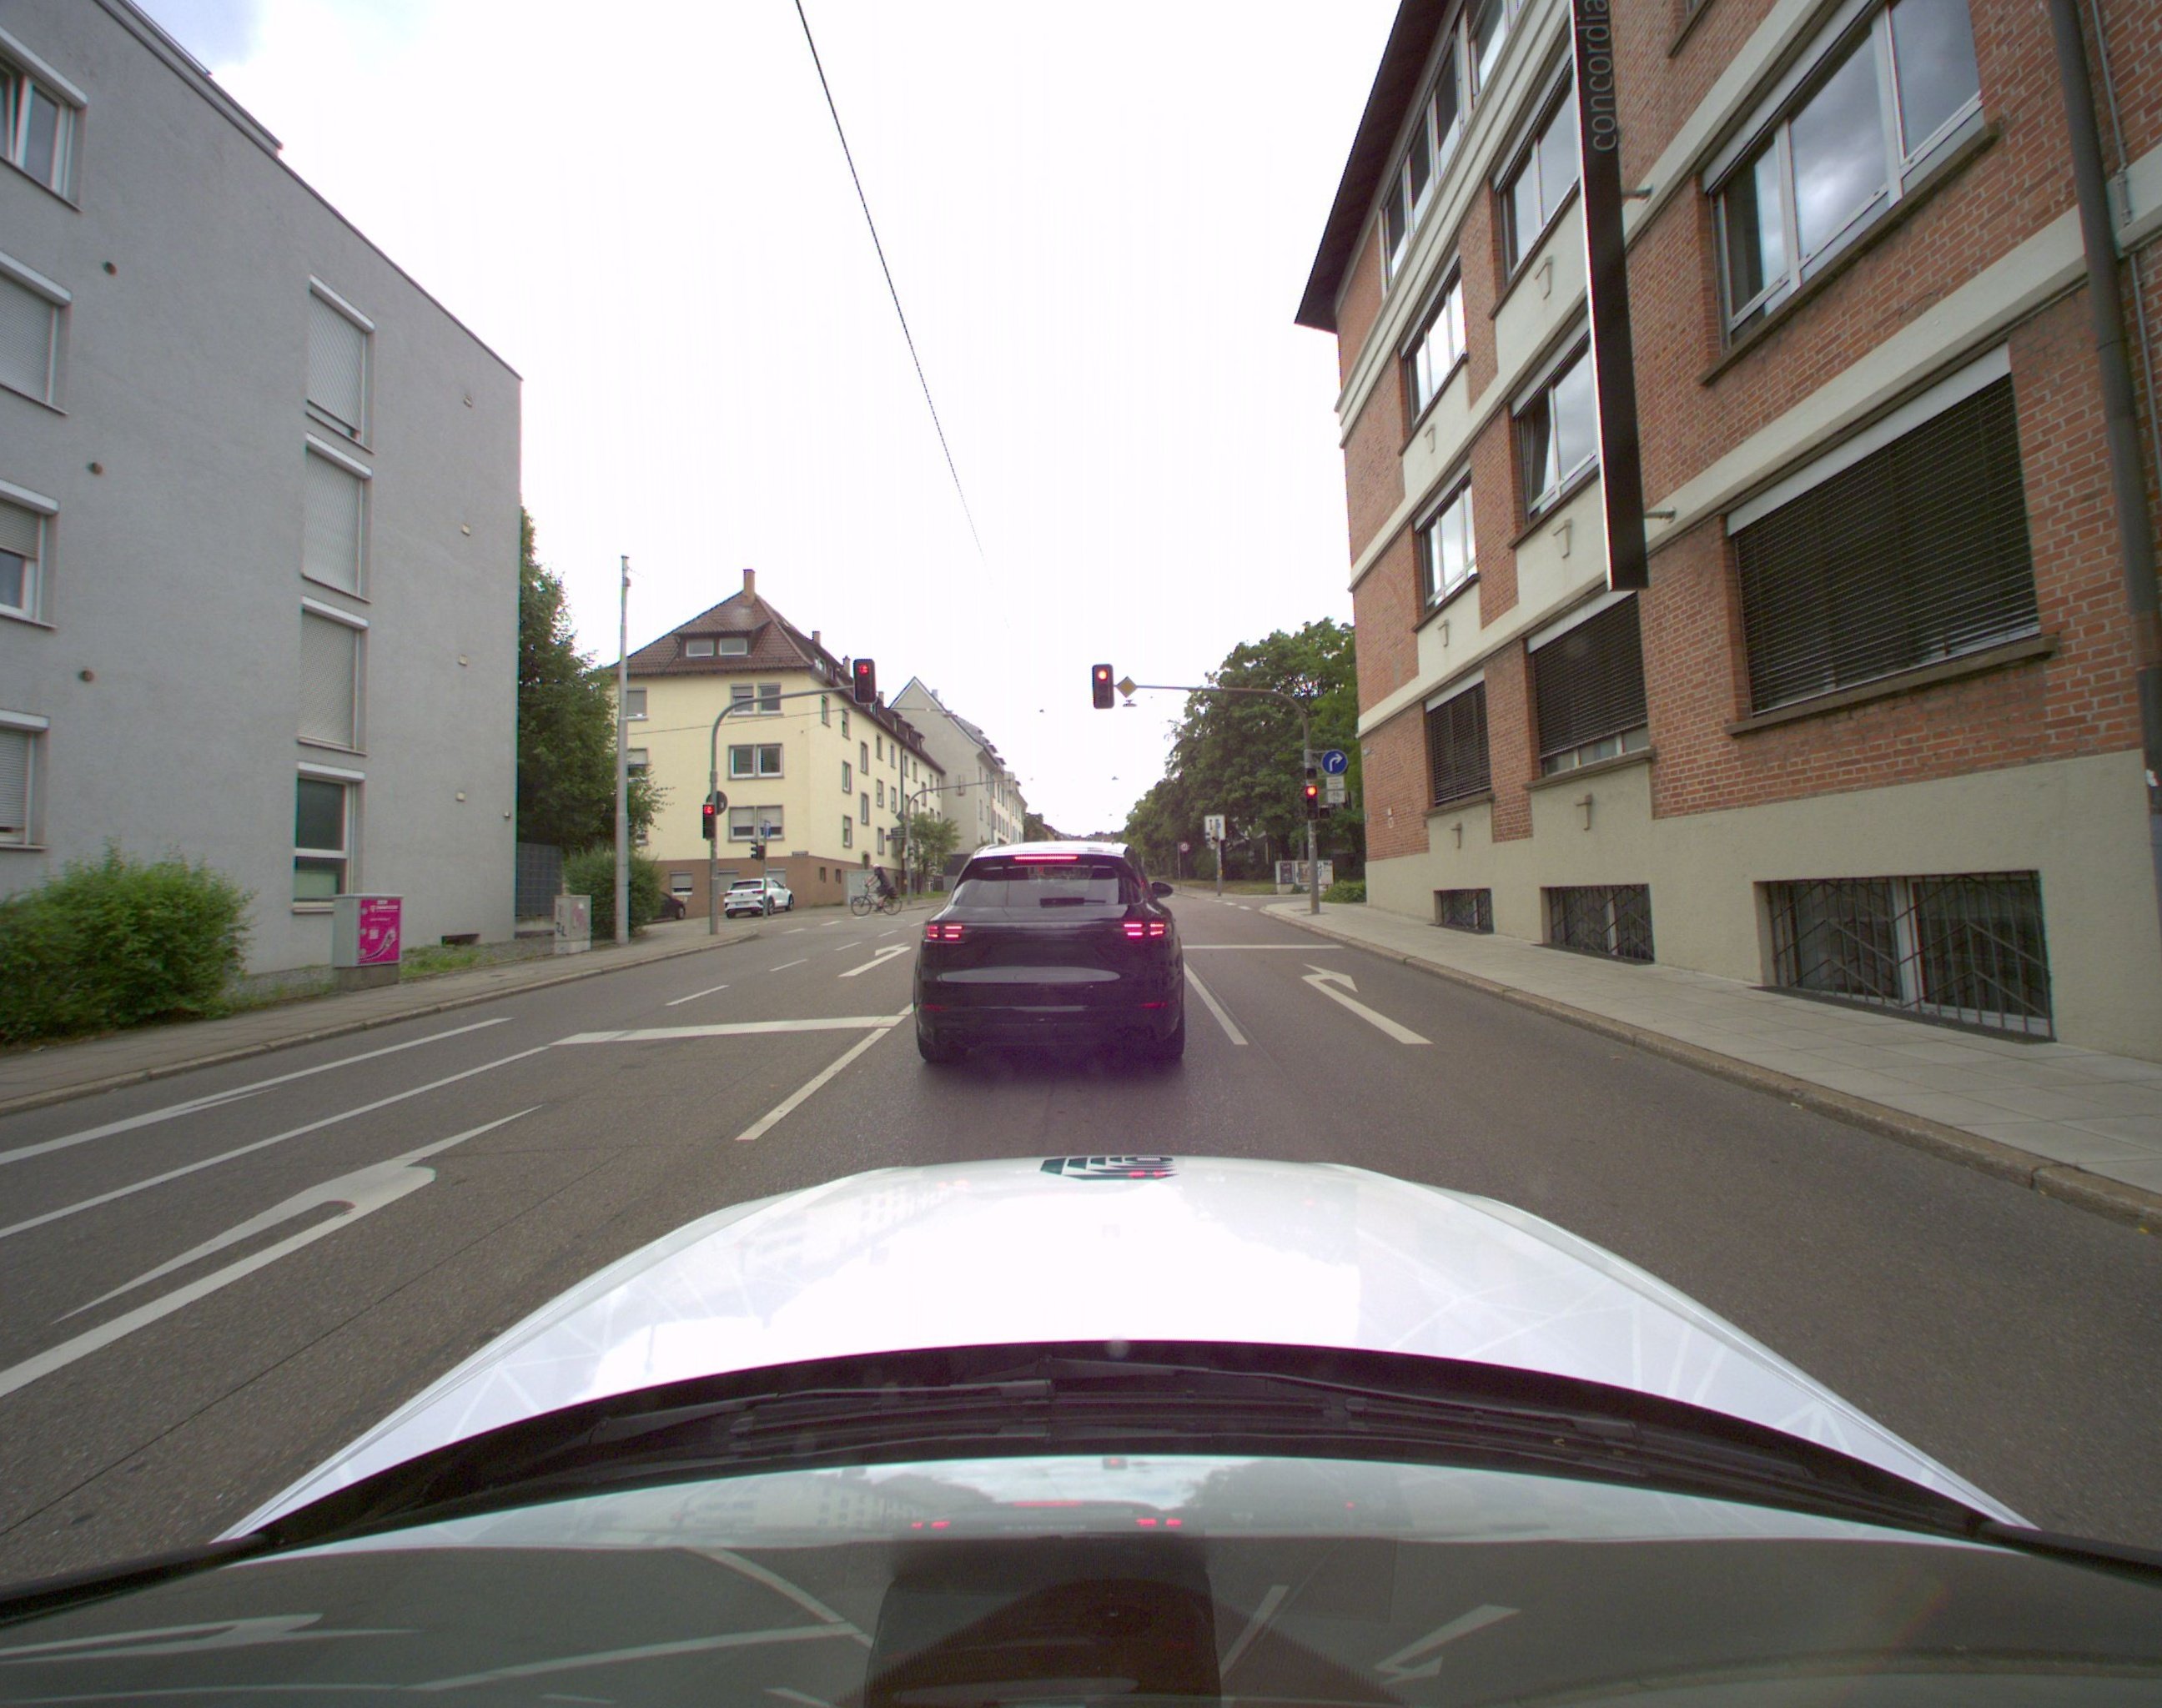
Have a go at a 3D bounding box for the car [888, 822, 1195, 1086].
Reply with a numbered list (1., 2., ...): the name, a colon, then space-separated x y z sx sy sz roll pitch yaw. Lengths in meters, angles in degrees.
1. car: -0.197 0.667 7.287 1.986 1.697 4.001 0 -1 2

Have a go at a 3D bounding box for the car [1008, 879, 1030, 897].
1. car: -5.304 2.894 69.888 1.665 1.362 3.998 -1 -1 -1

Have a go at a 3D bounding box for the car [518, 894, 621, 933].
1. car: -21.290 2.449 34.102 1.663 1.362 4.001 -1 -1 2

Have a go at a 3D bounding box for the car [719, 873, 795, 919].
1. car: -13.587 1.729 34.432 1.666 1.662 3.996 -4 0 -3

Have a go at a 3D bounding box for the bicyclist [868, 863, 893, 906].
1. bicyclist: -7.144 1.082 29.001 0.809 1.519 0.704 0 -1 -9

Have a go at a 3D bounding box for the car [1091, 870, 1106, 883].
1. car: 2.159 2.735 101.357 1.683 1.552 3.888 0 -1 0

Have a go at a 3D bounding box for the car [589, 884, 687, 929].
1. car: -18.583 2.164 34.395 1.664 1.546 4.103 -5 -1 2

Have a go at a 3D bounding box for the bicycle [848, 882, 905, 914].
1. bicycle: -7.266 1.566 28.974 1.905 1.081 0.701 0 -1 -10

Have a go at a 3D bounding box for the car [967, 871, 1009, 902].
1. car: -5.189 1.783 45.826 1.657 1.519 3.742 -5 -1 2
